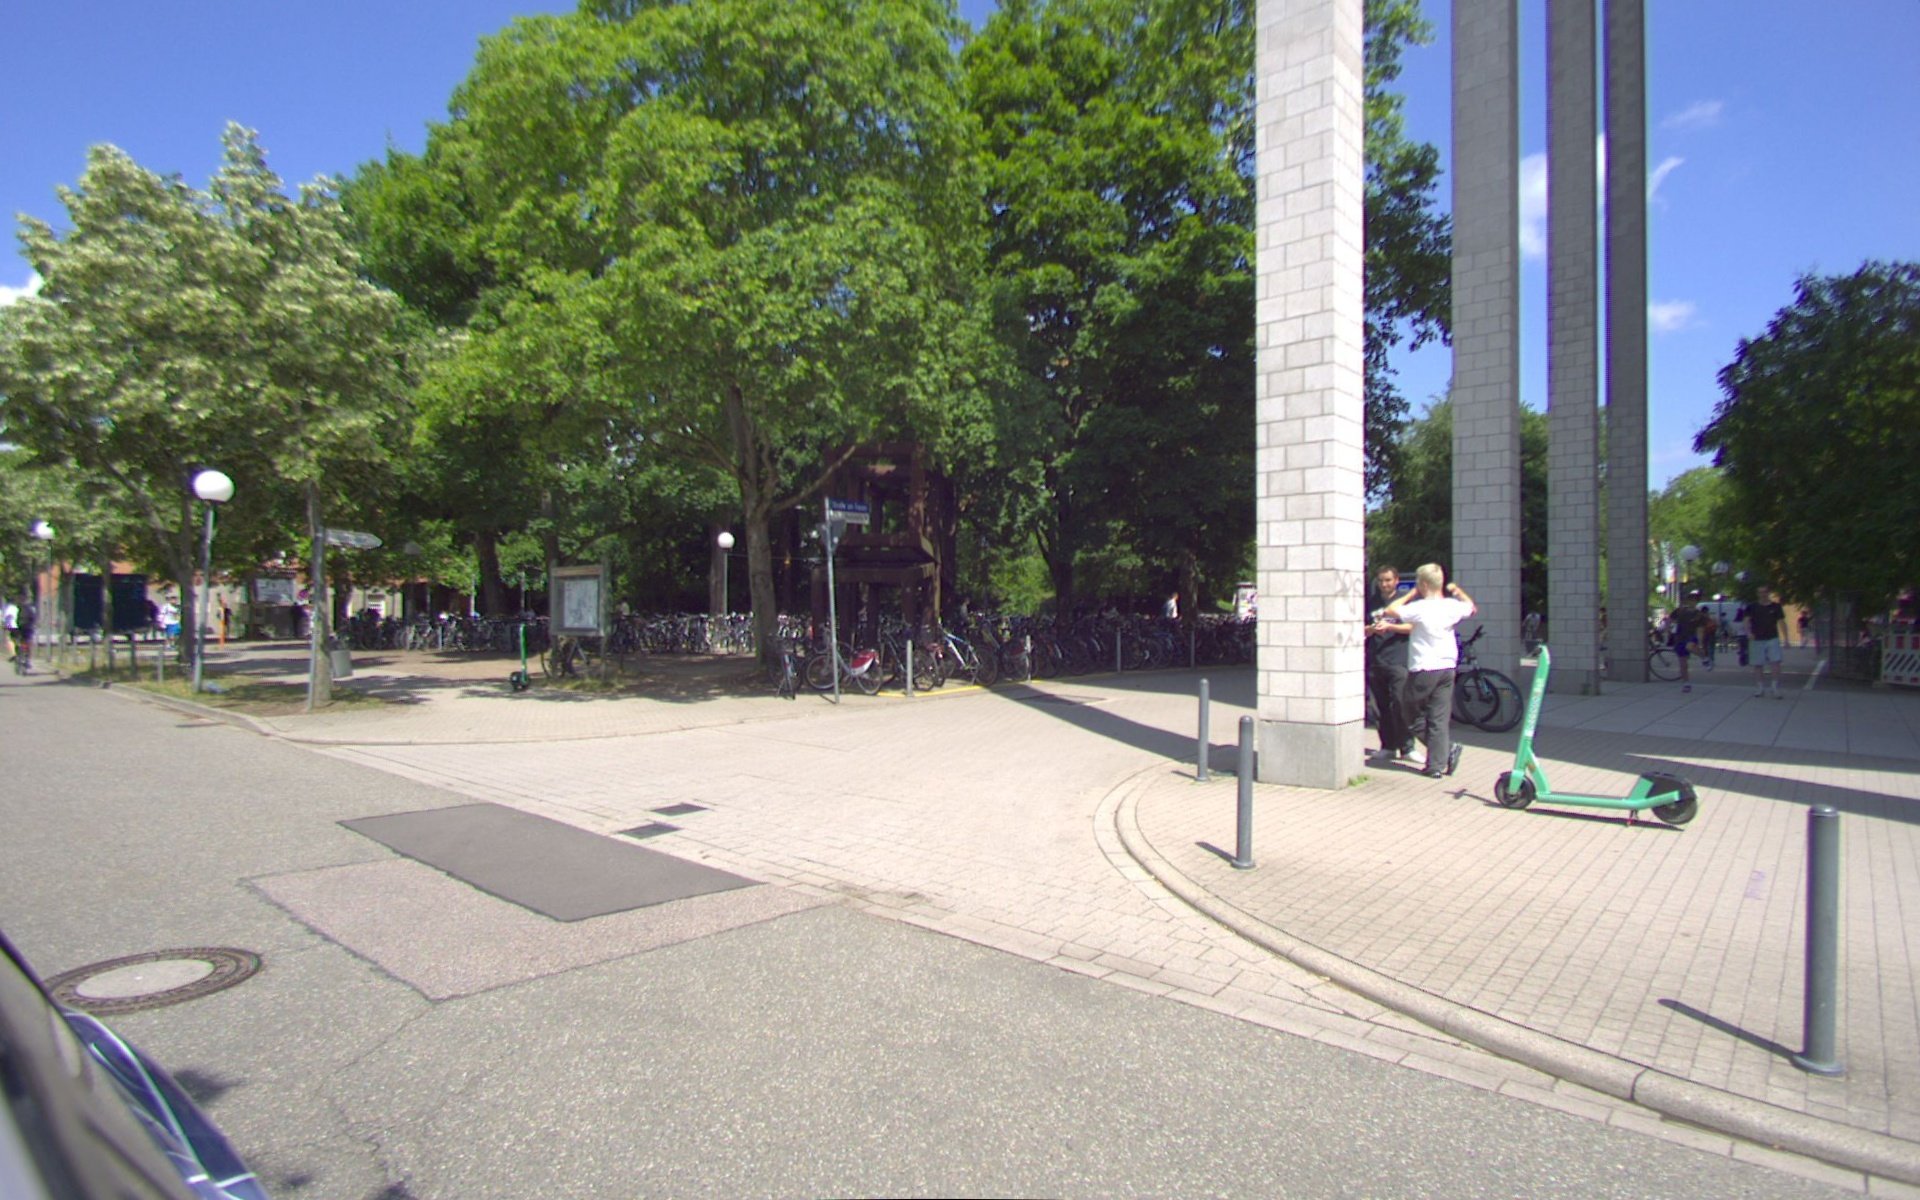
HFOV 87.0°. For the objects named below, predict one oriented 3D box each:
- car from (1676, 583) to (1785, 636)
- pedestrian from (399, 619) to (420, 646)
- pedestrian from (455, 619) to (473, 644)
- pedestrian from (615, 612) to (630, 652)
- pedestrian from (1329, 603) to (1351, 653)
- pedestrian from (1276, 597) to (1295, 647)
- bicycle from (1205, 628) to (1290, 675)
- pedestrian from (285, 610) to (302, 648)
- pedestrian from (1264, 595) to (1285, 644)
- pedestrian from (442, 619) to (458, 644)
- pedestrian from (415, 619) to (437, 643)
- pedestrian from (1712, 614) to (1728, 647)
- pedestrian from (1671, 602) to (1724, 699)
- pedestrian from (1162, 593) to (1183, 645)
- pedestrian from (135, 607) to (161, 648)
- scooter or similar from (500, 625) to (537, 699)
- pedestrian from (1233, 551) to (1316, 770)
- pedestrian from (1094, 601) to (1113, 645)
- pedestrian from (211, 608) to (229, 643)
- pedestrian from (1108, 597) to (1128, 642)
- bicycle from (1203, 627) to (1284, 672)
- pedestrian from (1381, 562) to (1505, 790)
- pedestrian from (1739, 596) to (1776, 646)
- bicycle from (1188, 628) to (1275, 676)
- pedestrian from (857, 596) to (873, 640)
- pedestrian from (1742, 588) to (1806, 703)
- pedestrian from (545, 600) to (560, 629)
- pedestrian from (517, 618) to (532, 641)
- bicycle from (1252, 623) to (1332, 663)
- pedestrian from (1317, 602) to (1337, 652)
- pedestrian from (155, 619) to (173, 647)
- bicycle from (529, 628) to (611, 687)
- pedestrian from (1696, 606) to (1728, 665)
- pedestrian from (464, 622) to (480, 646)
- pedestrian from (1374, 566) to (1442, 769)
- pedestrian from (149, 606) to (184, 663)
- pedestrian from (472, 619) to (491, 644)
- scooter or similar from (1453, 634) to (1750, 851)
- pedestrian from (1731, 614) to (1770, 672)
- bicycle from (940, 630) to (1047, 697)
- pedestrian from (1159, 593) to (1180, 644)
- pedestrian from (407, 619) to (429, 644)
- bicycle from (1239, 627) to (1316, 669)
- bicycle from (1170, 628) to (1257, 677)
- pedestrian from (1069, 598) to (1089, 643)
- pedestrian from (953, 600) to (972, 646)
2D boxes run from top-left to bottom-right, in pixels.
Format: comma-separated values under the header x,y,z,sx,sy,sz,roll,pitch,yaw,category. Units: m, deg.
x,y,z,sx,sy,sz,roll,pitch,yaw,category
41.927,0.527,55.185,4.620,2.797,1.975,-1,-1,37,car
-28.364,1.665,52.164,0.734,1.379,0.594,-3,-1,8,pedestrian
-27.554,1.746,56.186,0.778,1.333,0.680,-2,-2,43,pedestrian
-13.911,1.333,41.744,0.348,1.626,0.458,-1,-1,19,pedestrian
15.425,1.128,41.093,0.525,2.029,0.594,0,-1,-33,pedestrian
13.418,0.909,41.728,0.525,2.029,0.521,0,-1,-33,pedestrian
7.064,1.256,24.936,1.972,1.094,0.546,-1,0,42,bicycle
-33.319,1.428,50.570,0.805,1.862,0.524,-2,-1,42,pedestrian
13.161,0.798,42.331,0.525,2.029,0.577,0,-1,-33,pedestrian
-27.572,1.700,54.673,0.693,1.281,0.554,-2,-1,42,pedestrian
-27.558,1.594,52.233,0.734,1.243,0.594,-3,-1,8,pedestrian
37.636,1.488,50.116,0.602,1.618,0.624,-1,-1,41,pedestrian
12.562,0.849,17.233,0.598,1.605,0.818,-2,-2,43,pedestrian
8.106,0.730,38.599,0.688,1.948,0.646,-1,-1,7,pedestrian
-39.251,1.317,48.946,0.906,1.969,0.894,-2,1,-38,pedestrian
-7.539,1.031,17.300,0.334,1.184,1.332,-1,-1,-13,scooter or similar
2.894,0.547,9.345,0.656,1.956,0.412,-1,-1,13,pedestrian
5.568,0.882,39.230,0.695,1.683,0.555,-1,-1,7,pedestrian
-36.221,1.246,49.535,0.643,1.678,0.623,-1,-1,43,pedestrian
6.007,0.739,38.550,0.685,1.683,0.555,-1,-1,7,pedestrian
7.355,1.266,26.342,1.972,1.094,0.546,-1,0,42,bicycle
3.943,0.600,8.313,0.729,1.789,0.635,-1,-1,9,pedestrian
25.369,0.671,32.211,0.693,1.552,0.721,0,-1,-34,pedestrian
6.559,1.243,24.520,1.972,1.094,0.546,-1,0,42,bicycle
-3.743,0.723,39.896,0.539,1.726,0.411,-1,-1,11,pedestrian
13.211,0.725,16.419,0.737,1.804,0.617,-1,-2,43,pedestrian
-20.149,0.708,50.081,0.459,1.433,0.501,-1,-1,32,pedestrian
-22.504,1.518,52.317,0.728,1.203,0.388,-1,-1,33,pedestrian
9.372,1.204,28.624,2.128,1.076,0.492,-1,-1,41,bicycle
15.143,1.100,41.745,0.525,2.029,0.521,0,-1,-33,pedestrian
-44.339,1.848,56.371,0.499,1.521,0.735,-1,-1,43,pedestrian
-7.227,1.047,18.731,1.808,1.033,0.379,-1,-1,30,bicycle
21.654,1.018,29.156,0.641,1.662,0.593,-1,-1,44,pedestrian
-26.781,1.853,55.528,0.559,1.333,0.638,-2,-2,43,pedestrian
4.072,0.602,9.225,0.446,1.789,0.441,-1,-1,11,pedestrian
-26.665,1.153,34.008,0.986,1.844,0.791,-2,-1,42,pedestrian
-24.990,1.648,52.894,0.764,1.260,0.564,-1,-1,30,pedestrian
4.101,0.847,6.561,0.449,1.233,1.550,1,-2,-44,scooter or similar
22.653,1.228,28.998,0.786,1.616,0.593,-1,-1,44,pedestrian
0.569,1.087,17.849,1.972,1.094,0.546,-1,0,42,bicycle
8.144,0.714,39.340,0.674,1.948,0.621,-1,-1,7,pedestrian
-27.636,1.592,51.613,0.734,1.243,0.594,-3,-1,8,pedestrian
8.769,1.303,27.981,1.972,1.094,0.546,-1,0,42,bicycle
6.022,1.229,24.123,1.972,1.094,0.546,-1,0,42,bicycle
4.537,0.777,38.594,0.721,1.683,0.631,-1,-1,7,pedestrian
0.093,0.852,37.921,0.623,1.683,0.576,-1,-1,7,pedestrian
